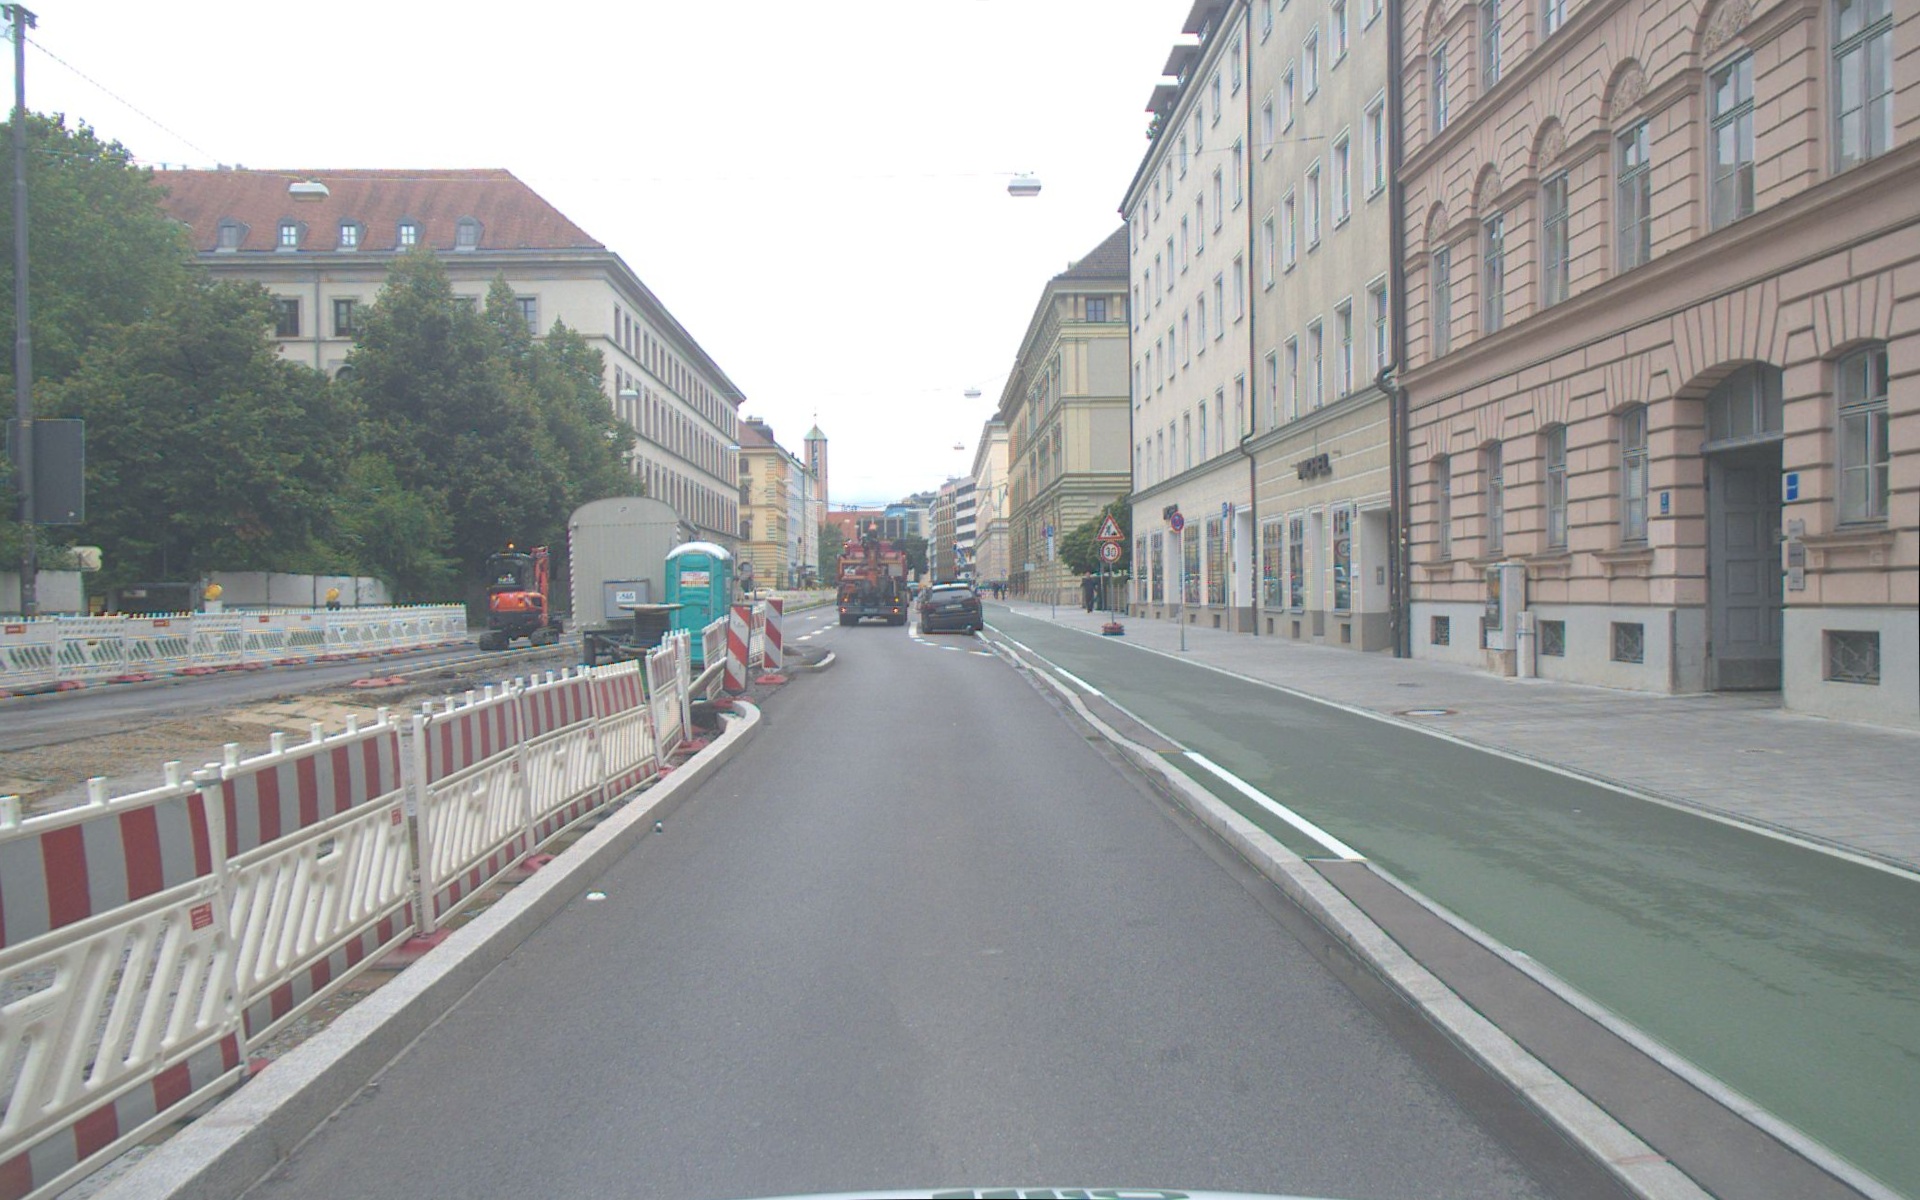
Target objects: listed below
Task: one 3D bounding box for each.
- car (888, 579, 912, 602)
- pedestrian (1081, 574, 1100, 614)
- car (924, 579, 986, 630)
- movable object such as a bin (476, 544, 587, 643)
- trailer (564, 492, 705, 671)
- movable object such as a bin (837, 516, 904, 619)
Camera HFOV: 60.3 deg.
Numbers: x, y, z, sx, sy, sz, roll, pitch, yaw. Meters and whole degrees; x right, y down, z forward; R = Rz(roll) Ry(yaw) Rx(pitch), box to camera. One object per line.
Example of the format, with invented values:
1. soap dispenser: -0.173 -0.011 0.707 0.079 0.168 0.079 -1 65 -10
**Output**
1. car: -3.987 -0.630 110.657 1.577 1.521 3.423 0 1 -2
2. pedestrian: 6.141 -0.289 77.945 0.774 1.868 0.777 -1 1 0
3. car: -0.197 0.107 52.062 1.765 1.505 4.685 -1 1 -2
4. movable object such as a bin: -11.746 -0.203 45.597 1.884 2.617 4.492 0 1 0
5. trailer: -6.648 -0.388 34.651 2.184 3.300 7.509 -1 1 -6
6. movable object such as a bin: -3.331 -1.193 61.992 2.375 3.674 5.849 0 0 -2
